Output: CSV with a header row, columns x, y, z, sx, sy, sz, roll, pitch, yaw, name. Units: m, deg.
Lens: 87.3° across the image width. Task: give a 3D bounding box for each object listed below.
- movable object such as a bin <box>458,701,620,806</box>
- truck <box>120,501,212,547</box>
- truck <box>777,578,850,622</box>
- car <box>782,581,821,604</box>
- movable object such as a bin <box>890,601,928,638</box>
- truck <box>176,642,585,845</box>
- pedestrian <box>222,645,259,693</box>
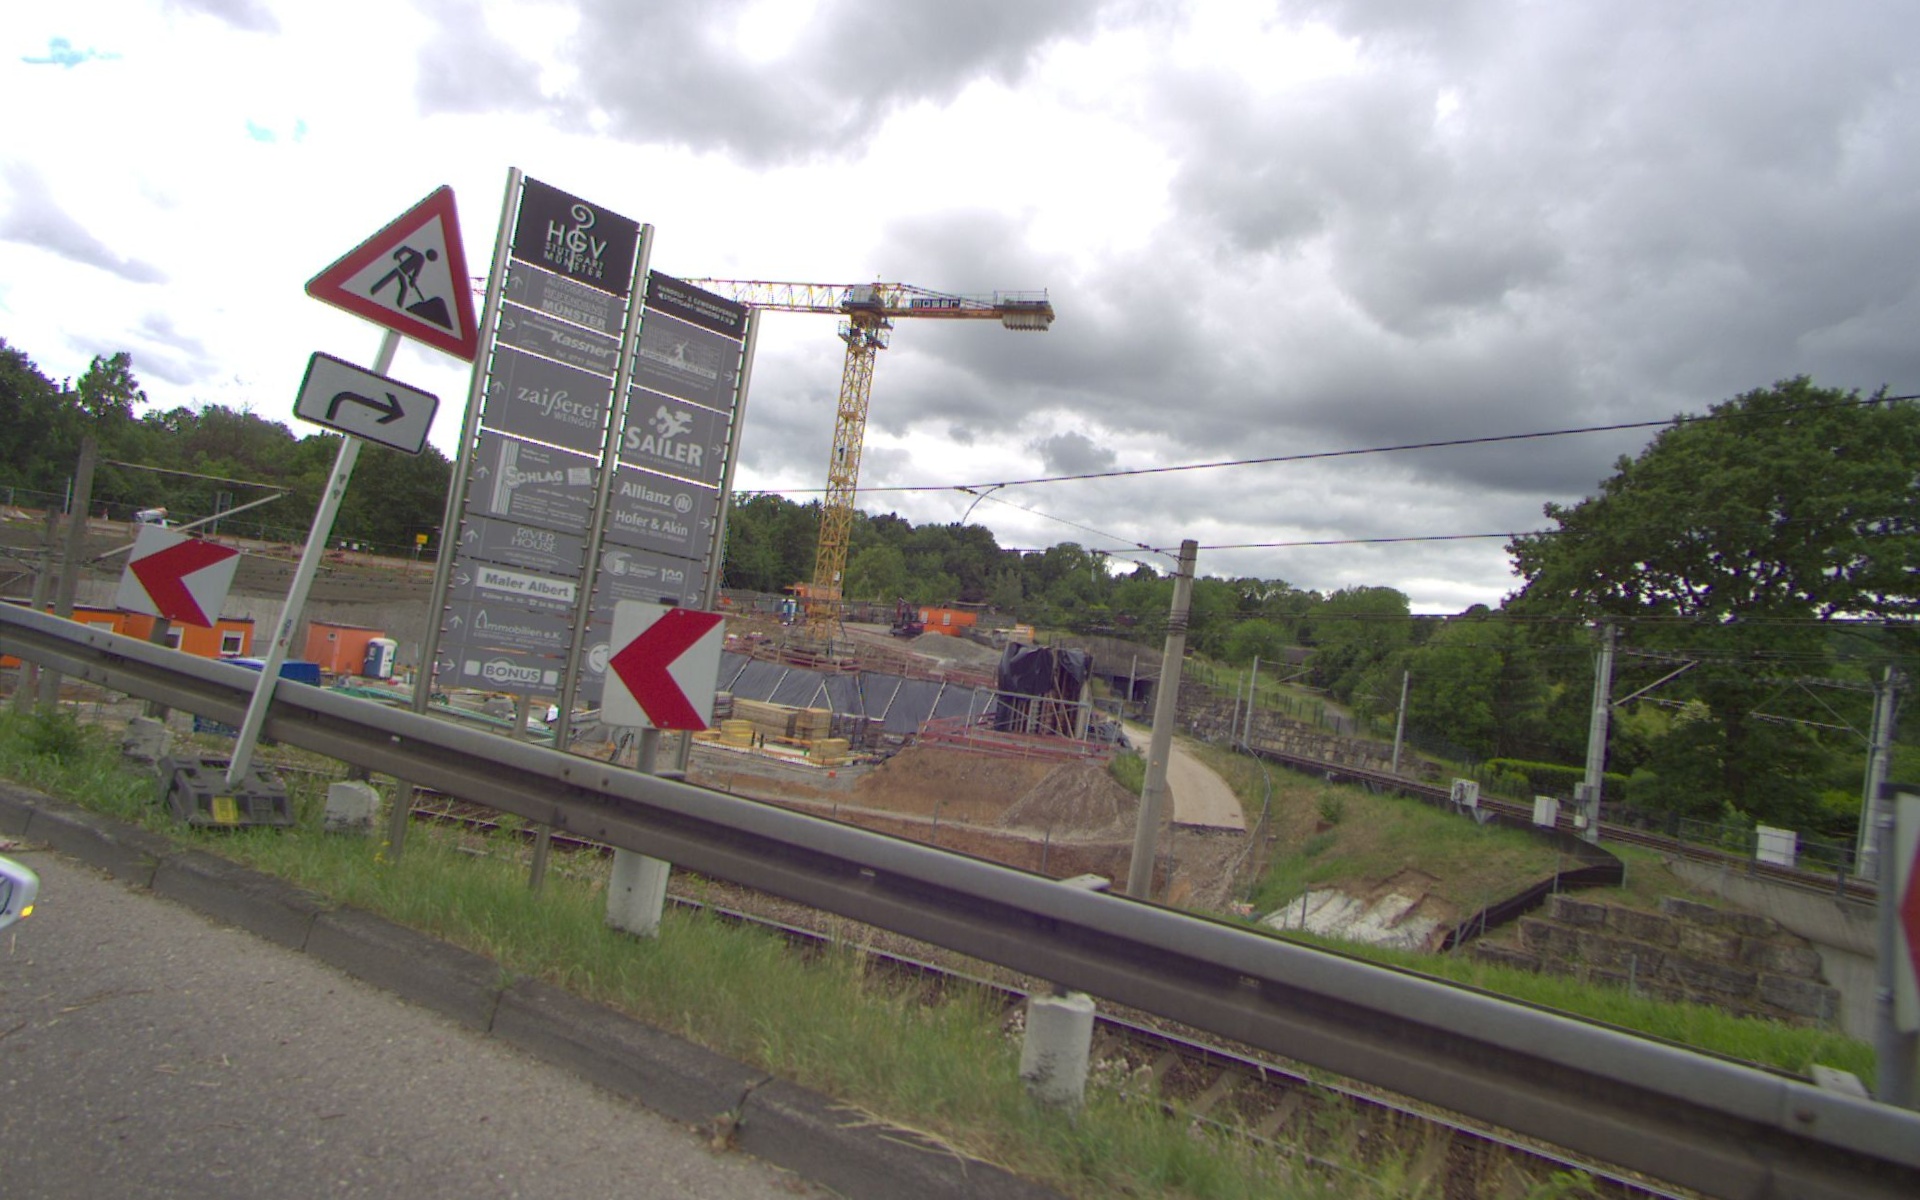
x,y,z,sx,sy,sz,roll,pitch,yaw,name
-15.103,5.433,36.155,4.213,2.780,3.047,9,-1,28,movable object such as a bin
-51.447,-4.909,65.265,1.963,2.034,4.009,7,-5,21,truck
-18.270,0.052,126.429,3.068,4.268,9.783,7,-2,31,truck
-18.077,-0.885,114.934,1.969,2.036,3.993,5,-3,34,car
-4.850,1.872,96.359,2.754,3.112,1.839,5,-2,31,movable object such as a bin
-17.740,4.208,30.922,11.400,3.936,2.851,9,-2,11,truck
-32.540,3.142,45.510,0.690,2.033,0.806,6,-5,12,pedestrian
